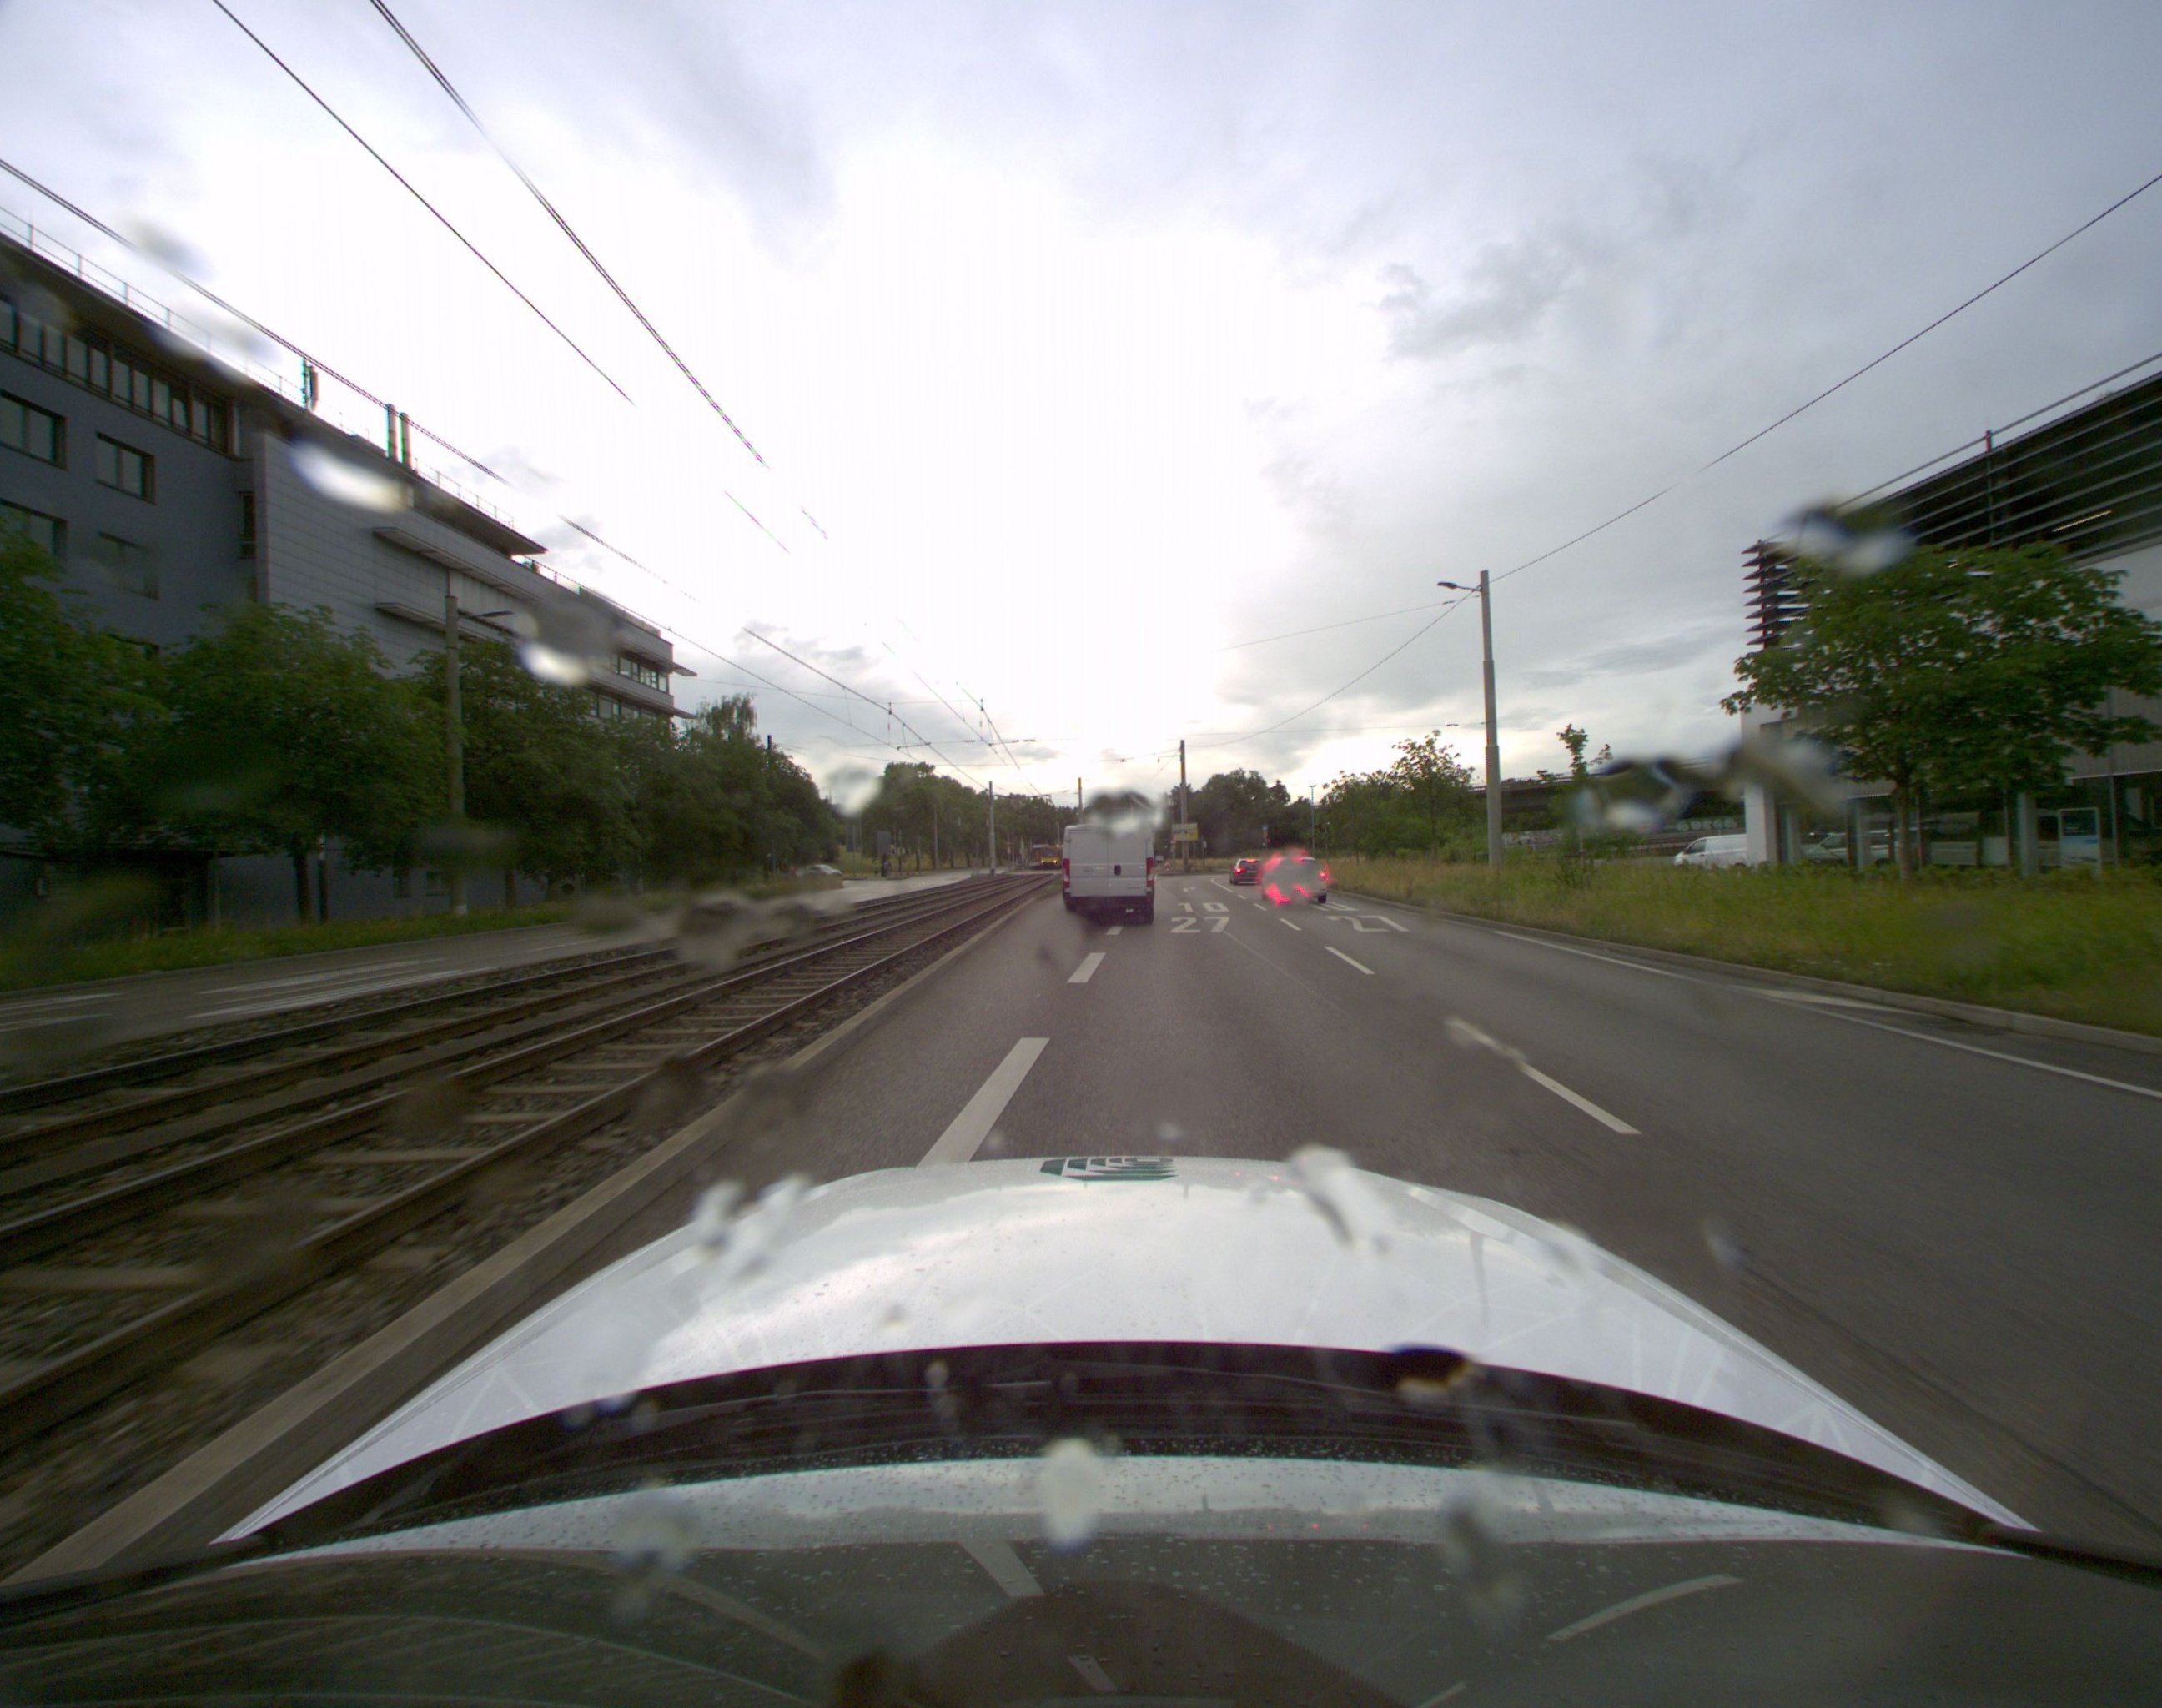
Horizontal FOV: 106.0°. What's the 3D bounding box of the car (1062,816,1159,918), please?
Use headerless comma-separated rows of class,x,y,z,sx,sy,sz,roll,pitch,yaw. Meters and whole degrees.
car,0.710,0.251,20.083,2.083,2.196,5.063,0,1,2

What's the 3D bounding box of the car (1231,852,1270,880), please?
car,9.179,0.617,44.348,1.779,1.449,4.009,-1,0,8

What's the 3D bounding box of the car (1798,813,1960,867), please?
car,32.352,-0.529,33.248,1.941,2.050,4.703,0,0,-2

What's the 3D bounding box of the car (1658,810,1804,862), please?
car,27.428,-0.720,34.626,2.038,2.013,5.087,-1,0,-2

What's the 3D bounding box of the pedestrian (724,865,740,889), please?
pedestrian,-25.790,1.724,60.226,0.722,1.755,0.878,0,0,4

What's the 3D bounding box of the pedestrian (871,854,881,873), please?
pedestrian,-22.313,1.019,88.543,0.885,2.013,0.864,-2,0,-4

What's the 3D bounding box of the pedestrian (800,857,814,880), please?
pedestrian,-23.581,1.252,70.041,0.628,1.867,0.958,-2,0,17

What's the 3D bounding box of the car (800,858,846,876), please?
car,-26.462,1.357,83.542,4.571,1.732,2.013,-1,1,35

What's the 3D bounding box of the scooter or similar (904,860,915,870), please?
scooter or similar,-21.109,1.392,100.525,1.287,1.161,0.376,-3,1,-44

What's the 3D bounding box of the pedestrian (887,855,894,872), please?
pedestrian,-20.321,1.043,86.922,0.504,1.787,0.833,0,0,6

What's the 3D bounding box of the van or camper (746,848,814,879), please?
van or camper,-29.844,0.936,80.591,7.279,2.966,2.507,-1,1,35

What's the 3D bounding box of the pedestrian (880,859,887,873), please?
pedestrian,-21.501,1.325,88.632,0.493,1.473,0.722,0,0,3

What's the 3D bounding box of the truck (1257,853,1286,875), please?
truck,17.221,0.890,73.480,1.977,1.790,4.436,-2,0,20

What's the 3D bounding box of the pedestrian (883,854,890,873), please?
pedestrian,-20.795,0.997,86.999,0.493,1.955,0.723,0,0,5

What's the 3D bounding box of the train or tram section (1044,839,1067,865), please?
train or tram section,-4.045,-0.300,129.605,2.916,3.933,7.012,0,0,3

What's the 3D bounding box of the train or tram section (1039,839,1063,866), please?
train or tram section,-4.424,-0.288,123.172,2.916,3.933,7.012,0,0,3

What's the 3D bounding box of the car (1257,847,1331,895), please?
car,6.861,0.496,26.555,1.738,1.457,3.676,0,0,4

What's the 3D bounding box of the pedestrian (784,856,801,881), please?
pedestrian,-24.682,1.237,69.751,0.880,2.013,0.950,-2,0,18
